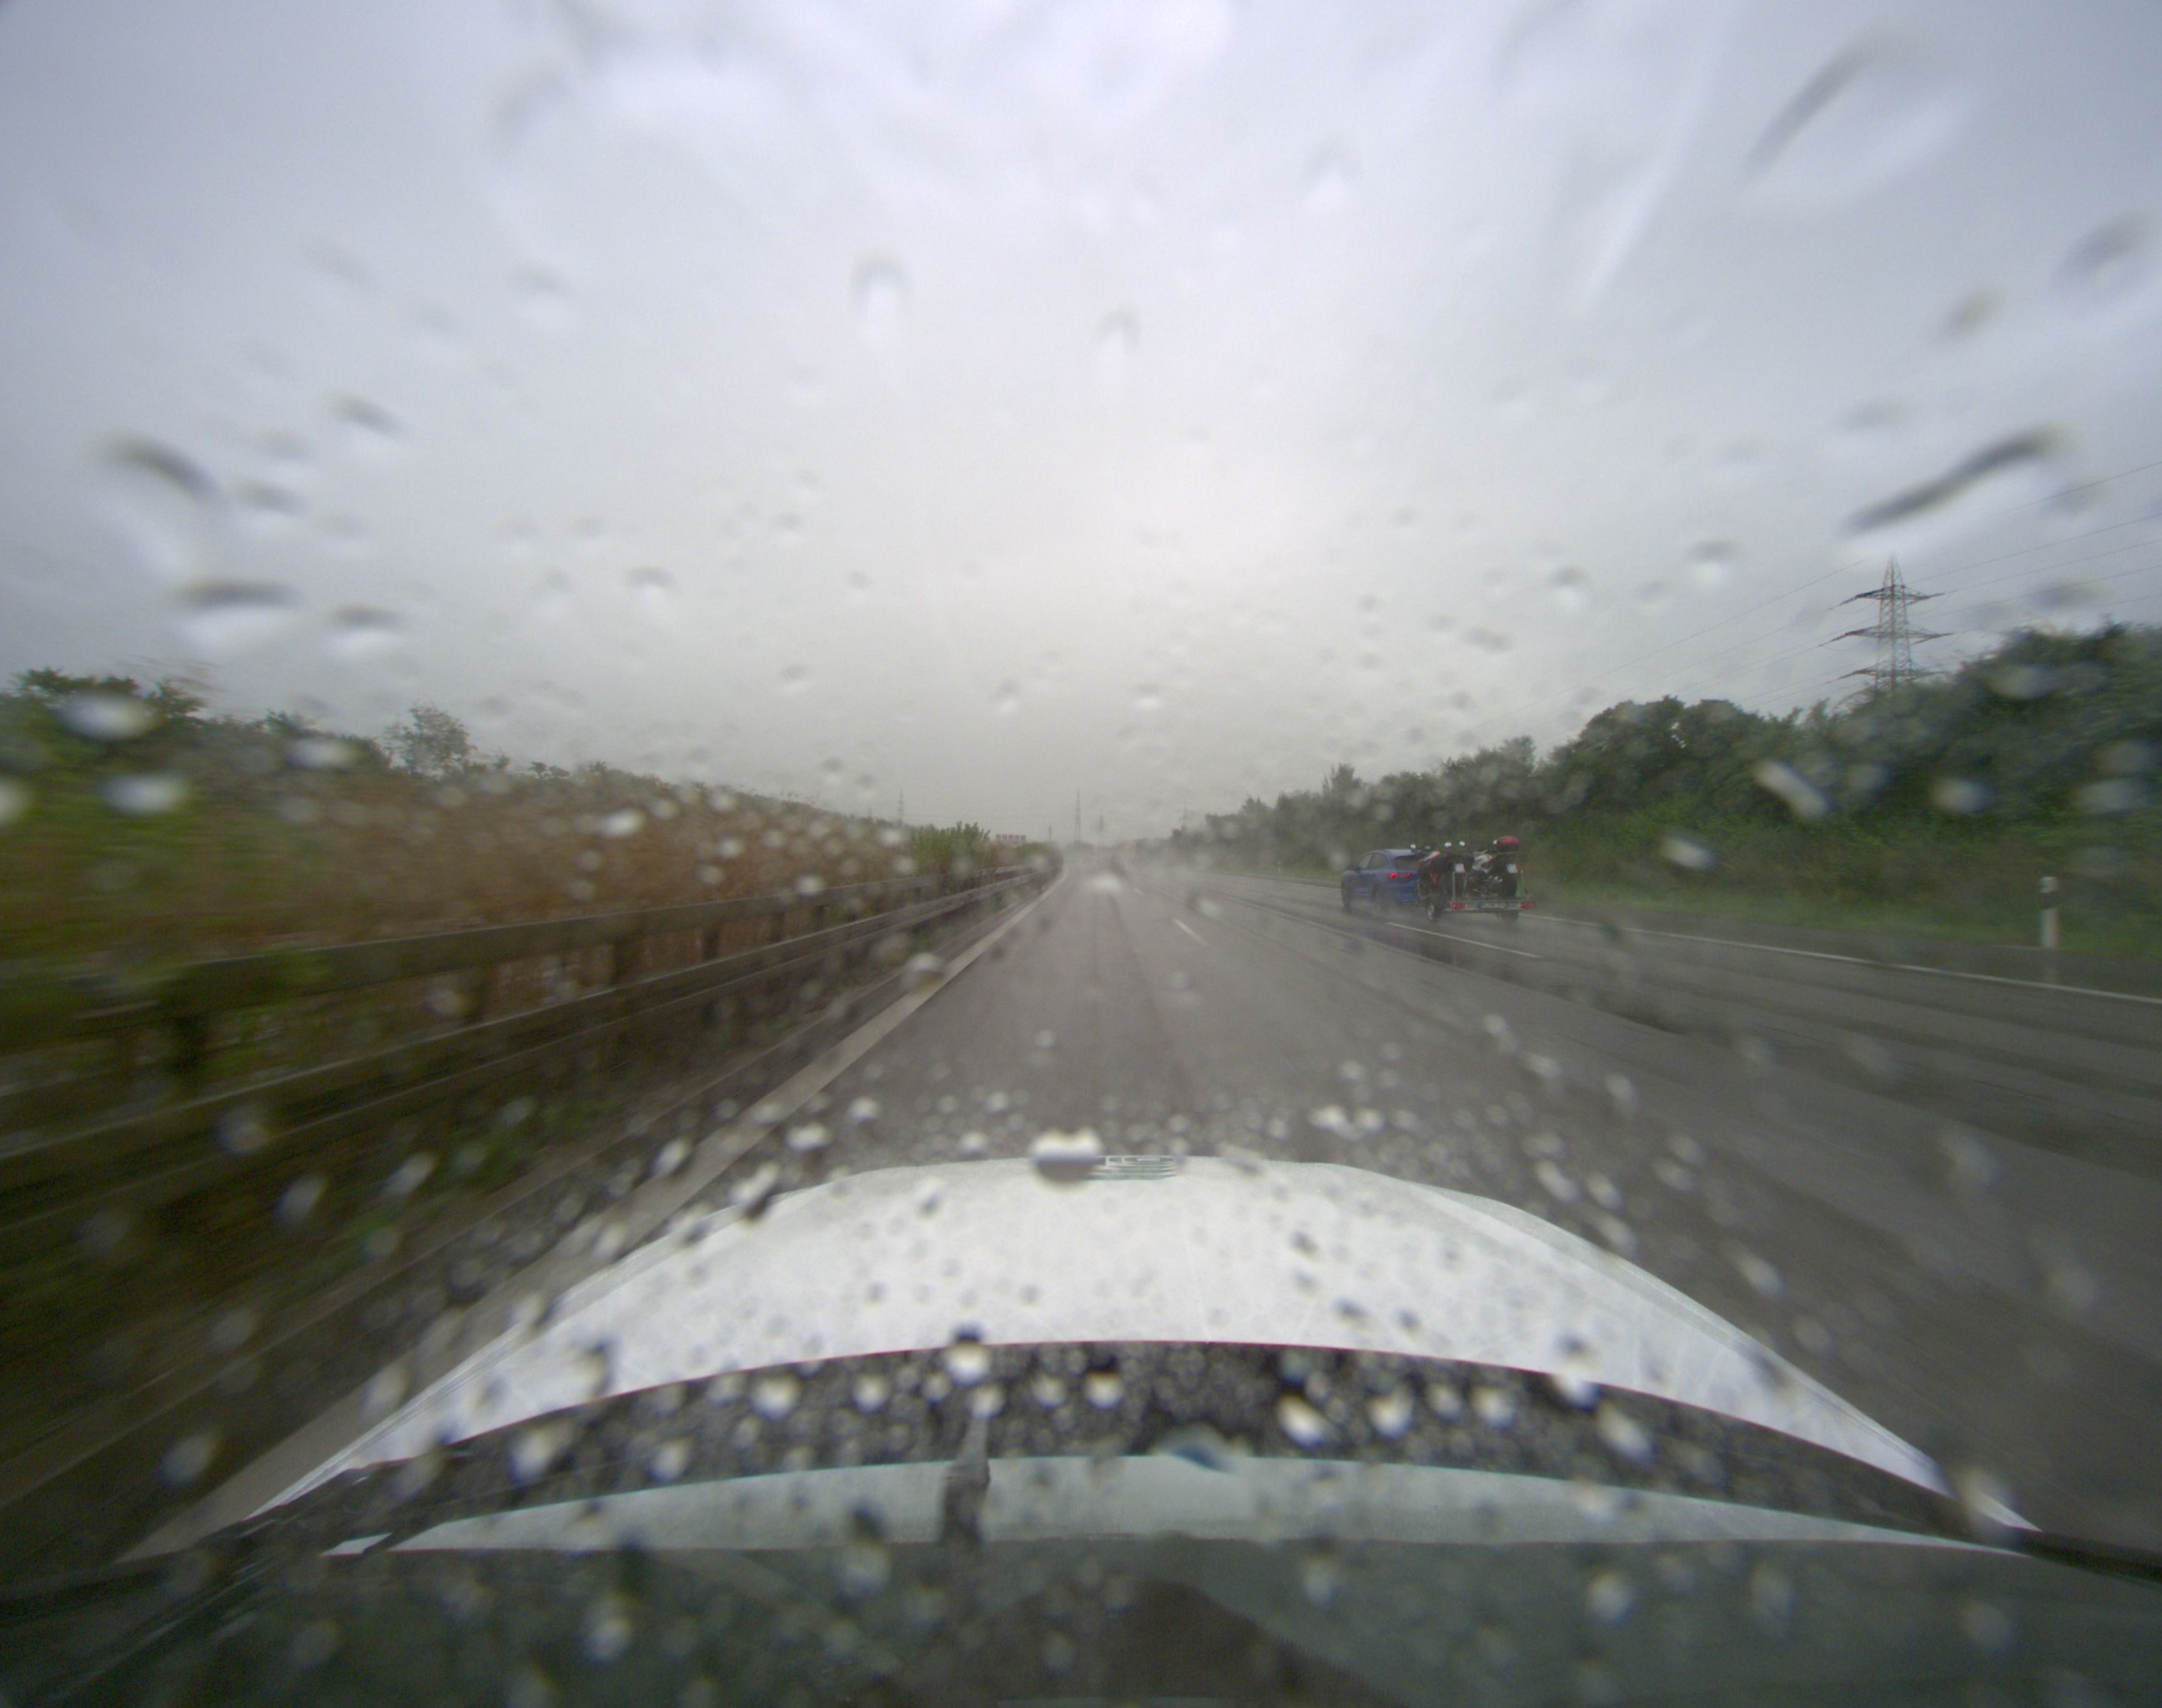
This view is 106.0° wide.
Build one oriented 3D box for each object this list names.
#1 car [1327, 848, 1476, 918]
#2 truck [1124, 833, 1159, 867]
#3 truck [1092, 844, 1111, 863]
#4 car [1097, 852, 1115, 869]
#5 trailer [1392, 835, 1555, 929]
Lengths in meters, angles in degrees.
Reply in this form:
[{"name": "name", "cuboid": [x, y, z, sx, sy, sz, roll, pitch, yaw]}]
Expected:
[{"name": "car", "cuboid": [8.264, 0.707, 21.562, 1.987, 1.619, 4.991, -1, -1, 0]}, {"name": "truck", "cuboid": [8.789, -0.431, 120.195, 4.175, 4.630, 16.105, -1, -1, 1]}, {"name": "truck", "cuboid": [4.759, -0.050, 190.937, 3.230, 4.311, 8.813, -1, 0, -8]}, {"name": "car", "cuboid": [3.030, 0.795, 99.084, 1.988, 2.013, 3.998, -1, 0, -1]}, {"name": "trailer", "cuboid": [8.253, 0.565, 17.464, 1.972, 1.785, 3.189, -1, -1, 1]}]
